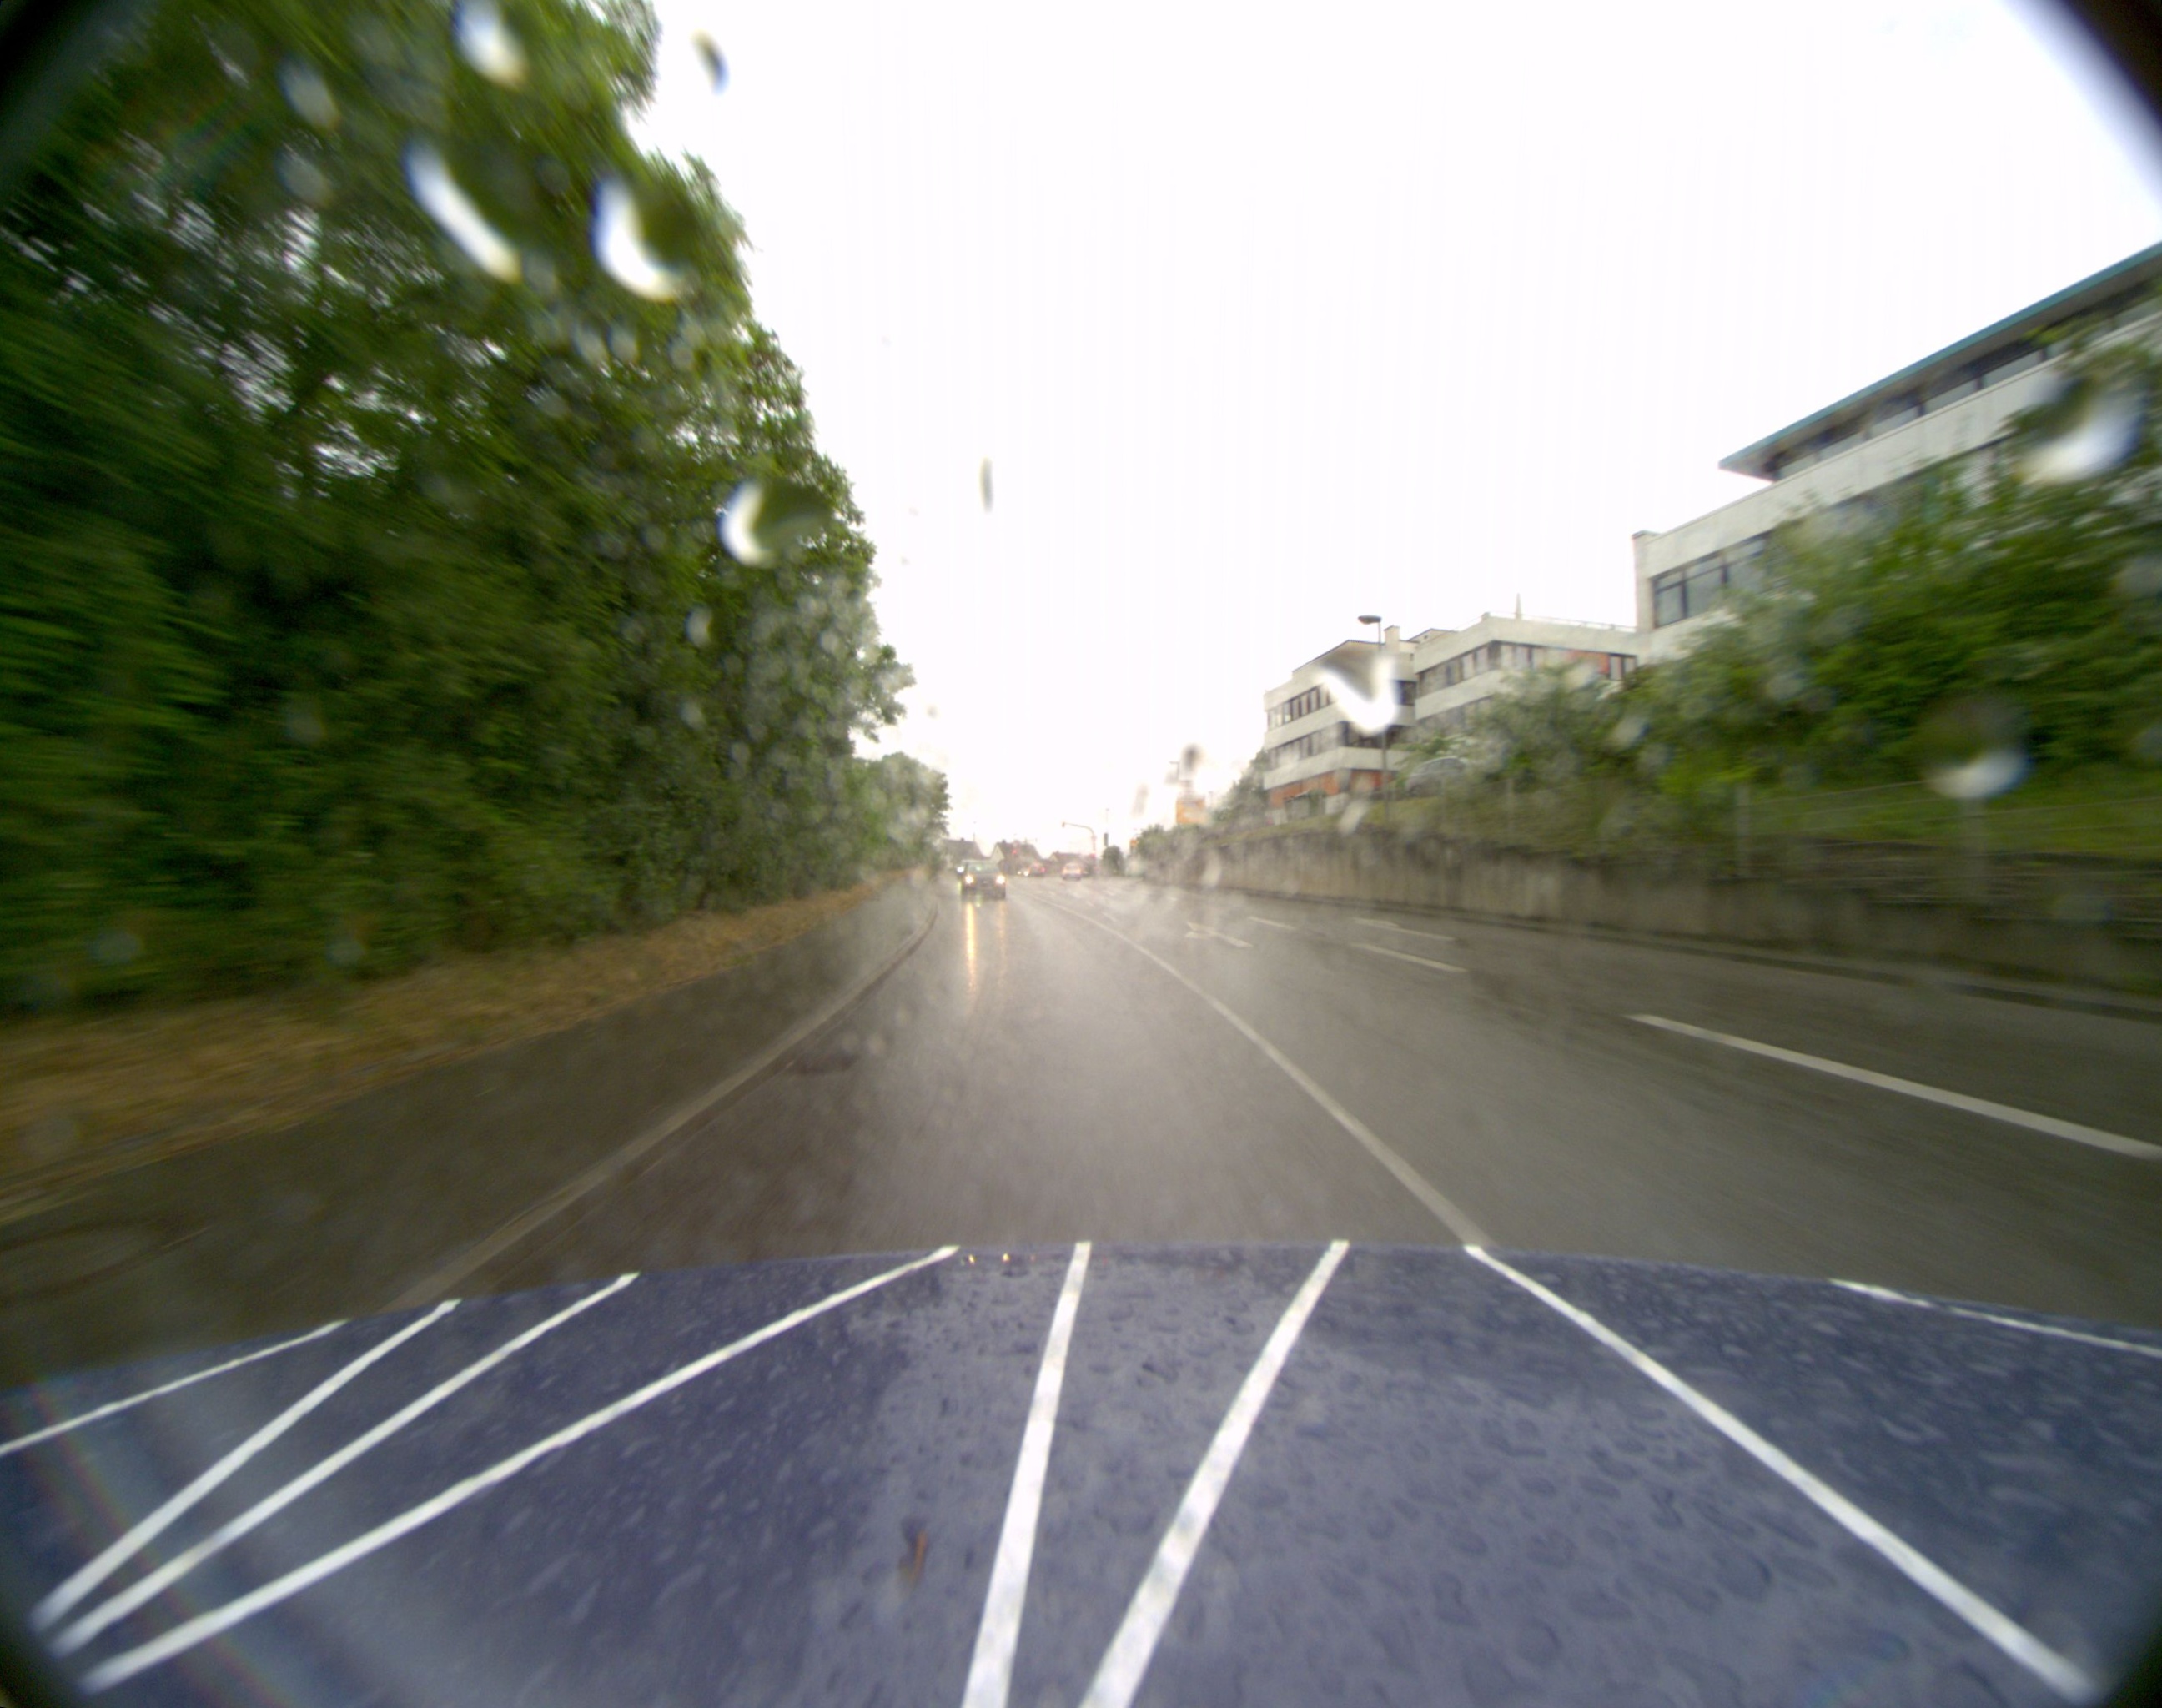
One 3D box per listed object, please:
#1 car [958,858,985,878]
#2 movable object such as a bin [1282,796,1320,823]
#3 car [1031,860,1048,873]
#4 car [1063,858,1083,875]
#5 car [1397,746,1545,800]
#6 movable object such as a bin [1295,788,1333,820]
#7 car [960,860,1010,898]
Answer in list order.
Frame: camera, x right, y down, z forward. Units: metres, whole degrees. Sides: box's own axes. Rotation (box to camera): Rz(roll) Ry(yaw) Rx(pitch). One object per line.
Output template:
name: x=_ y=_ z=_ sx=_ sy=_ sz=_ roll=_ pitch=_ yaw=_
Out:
car: x=-8.244 y=1.026 z=57.384 sx=1.875 sy=1.432 sz=4.375 roll=1 pitch=-1 yaw=-6
movable object such as a bin: x=10.323 y=-2.088 z=35.699 sx=1.245 sy=1.204 sz=1.342 roll=-1 pitch=0 yaw=-7
car: x=-4.449 y=1.323 z=80.681 sx=1.738 sy=1.297 sz=3.719 roll=-1 pitch=1 yaw=-3
car: x=-0.769 y=1.194 z=72.289 sx=1.738 sy=1.452 sz=3.719 roll=-1 pitch=1 yaw=-3
car: x=12.440 y=-2.534 z=24.624 sx=1.919 sy=1.335 sz=4.528 roll=-1 pitch=1 yaw=-11
movable object such as a bin: x=10.514 y=-2.259 z=34.340 sx=1.245 sy=1.338 sz=1.217 roll=-1 pitch=0 yaw=-6
car: x=-4.005 y=0.993 z=31.518 sx=1.875 sy=1.432 sz=4.374 roll=1 pitch=0 yaw=-8
